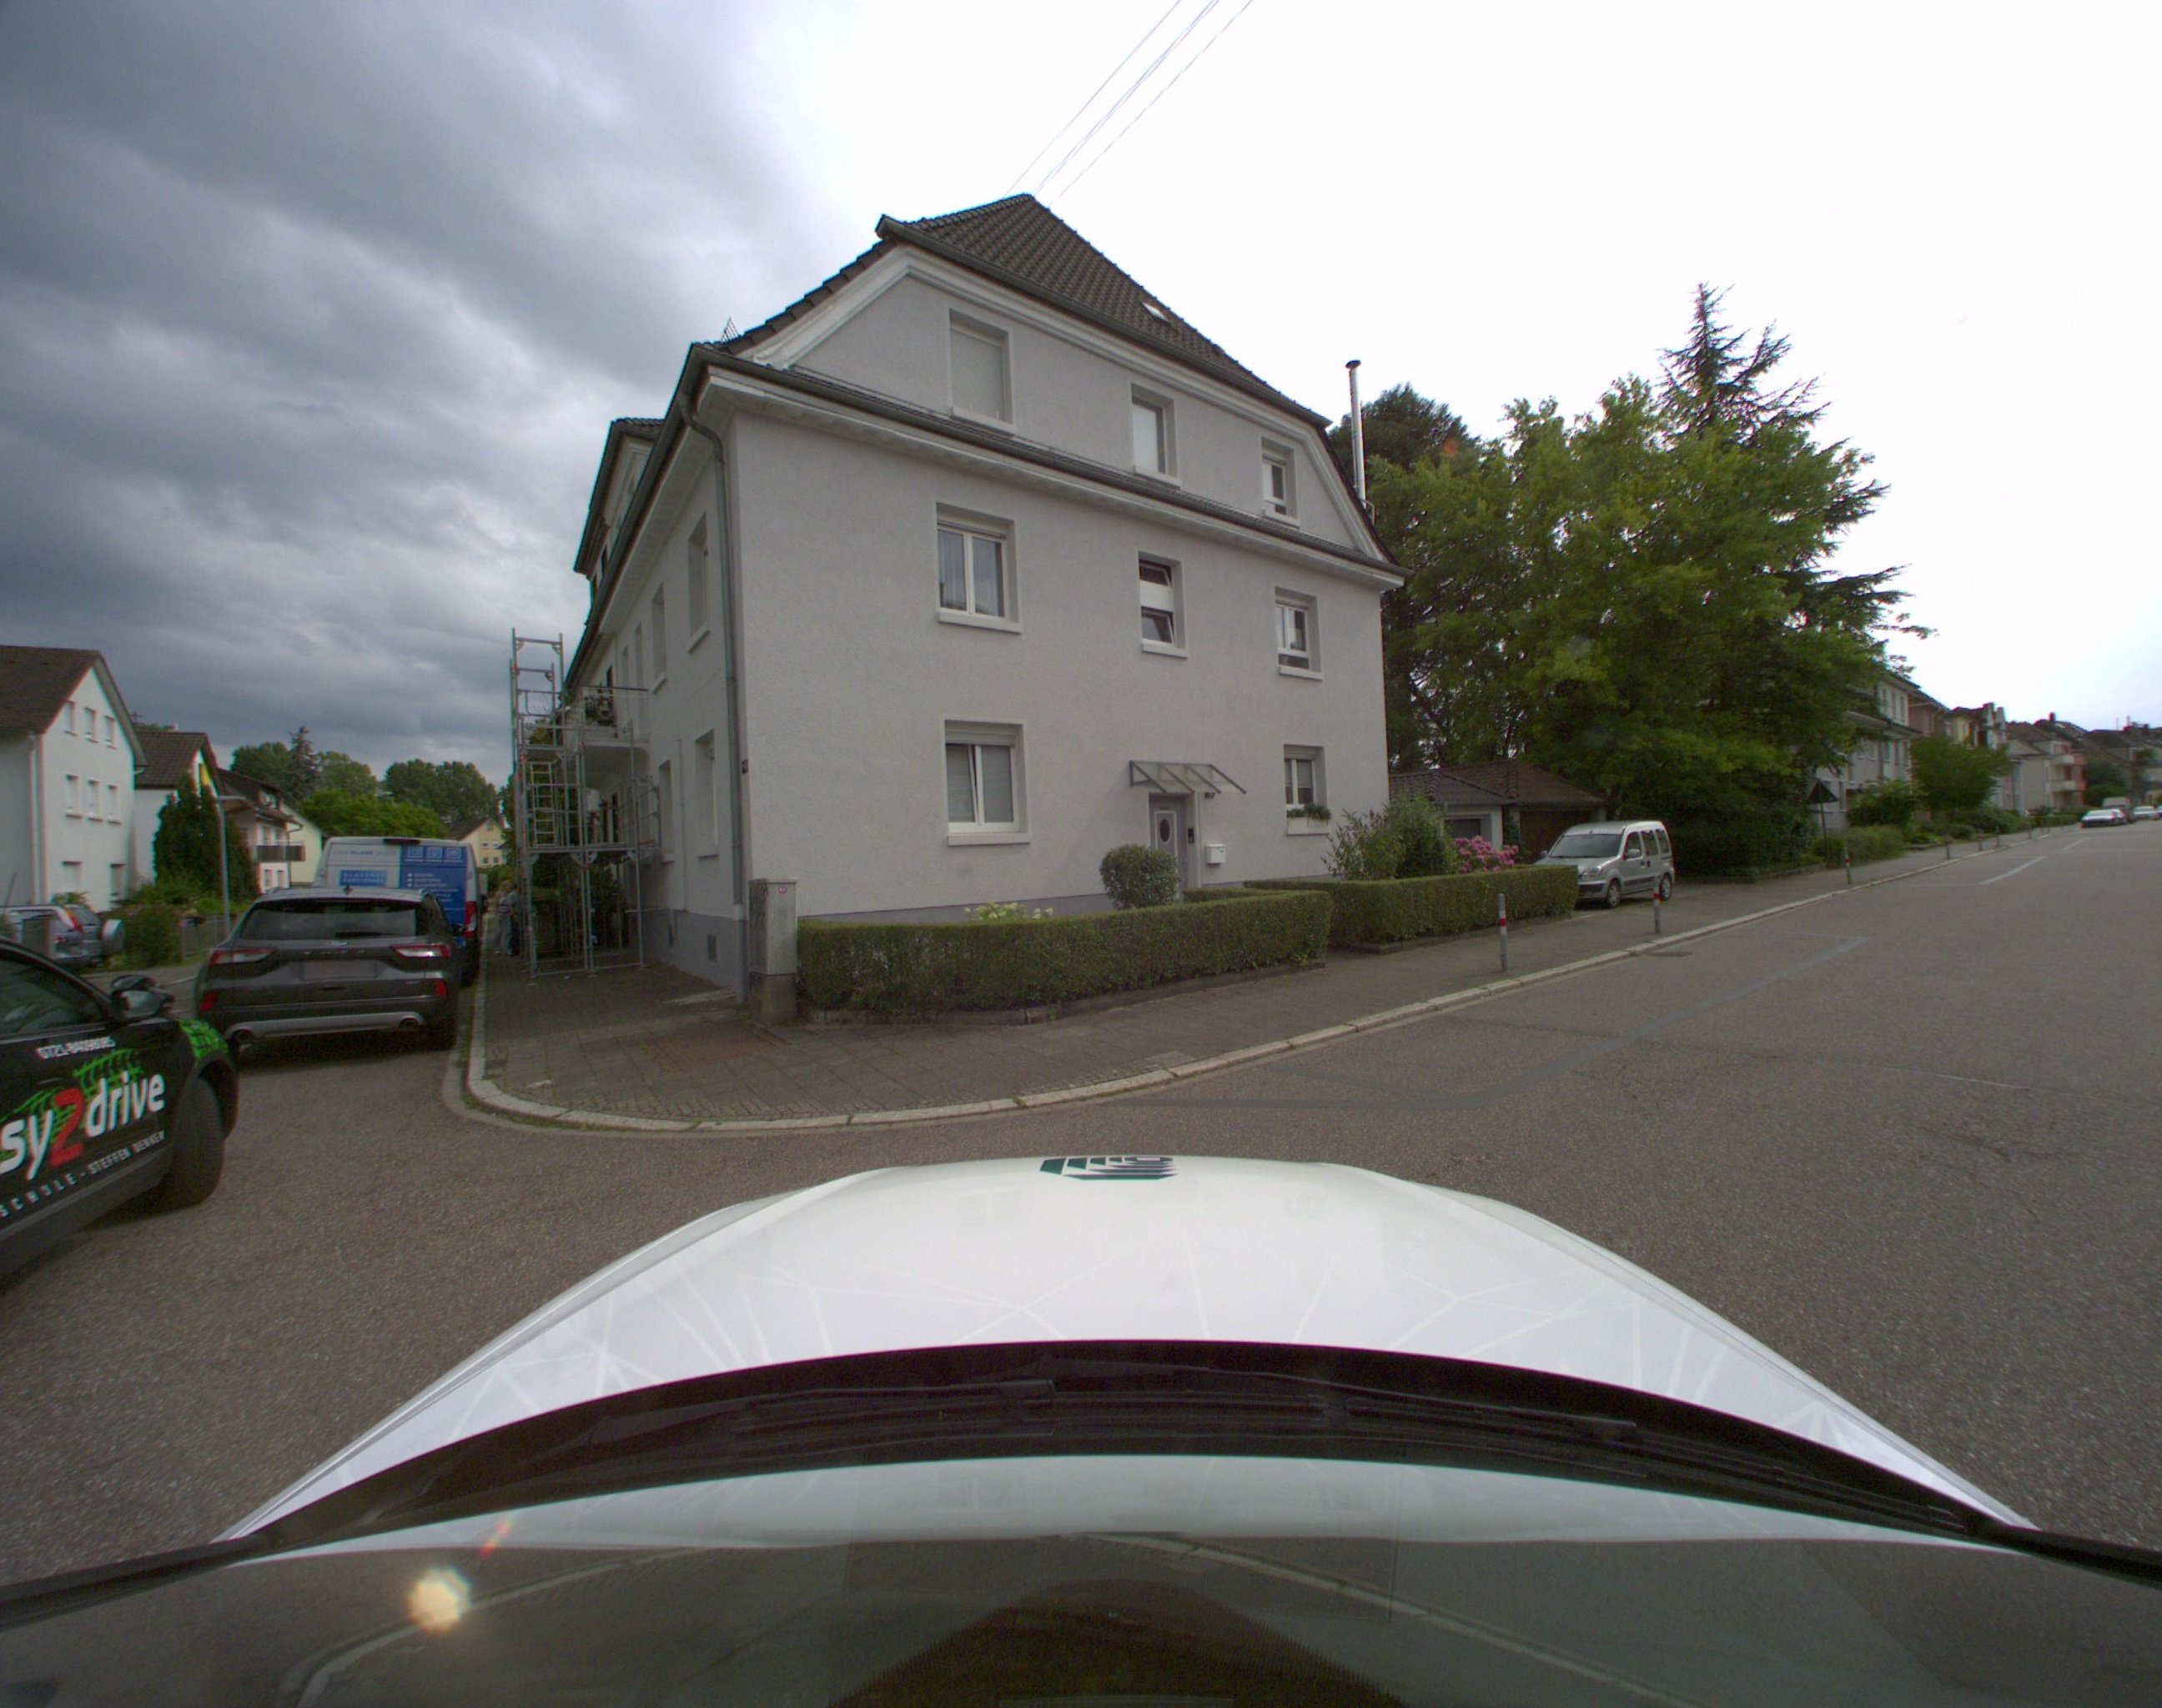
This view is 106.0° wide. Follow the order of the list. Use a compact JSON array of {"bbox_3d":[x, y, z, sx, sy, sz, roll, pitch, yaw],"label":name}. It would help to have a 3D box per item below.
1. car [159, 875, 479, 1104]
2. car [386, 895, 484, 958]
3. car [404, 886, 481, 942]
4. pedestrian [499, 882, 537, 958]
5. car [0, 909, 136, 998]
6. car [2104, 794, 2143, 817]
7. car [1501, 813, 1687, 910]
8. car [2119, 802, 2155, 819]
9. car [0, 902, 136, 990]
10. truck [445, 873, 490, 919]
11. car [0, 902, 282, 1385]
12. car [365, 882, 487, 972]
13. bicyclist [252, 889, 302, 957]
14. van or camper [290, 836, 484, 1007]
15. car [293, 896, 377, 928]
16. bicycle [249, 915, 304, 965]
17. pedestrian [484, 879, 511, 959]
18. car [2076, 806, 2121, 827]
[{"bbox_3d":[-7.928,1.173,8.850,2.010,1.727,4.291,-3,0,-39],"label":"car"},{"bbox_3d":[-18.498,2.001,23.350,2.010,1.455,4.291,-3,0,-39],"label":"car"},{"bbox_3d":[-23.145,2.114,29.527,2.010,1.749,4.291,-3,0,-39],"label":"car"},{"bbox_3d":[-12.582,1.457,18.214,0.605,1.629,0.619,-3,-2,-33],"label":"pedestrian"},{"bbox_3d":[-20.590,1.934,15.197,3.601,1.500,1.569,-3,-1,-40],"label":"car"},{"bbox_3d":[98.904,-4.593,77.260,4.016,2.013,1.979,-3,0,-34],"label":"car"},{"bbox_3d":[11.293,0.121,17.870,4.017,1.838,1.978,-3,0,-35],"label":"car"},{"bbox_3d":[112.536,-4.637,86.811,4.015,1.640,1.979,-3,0,-33],"label":"car"},{"bbox_3d":[-22.821,1.988,17.113,3.601,1.667,1.569,-3,-1,-40],"label":"car"},{"bbox_3d":[-39.146,2.658,51.926,2.147,2.657,4.531,-3,0,-38],"label":"truck"},{"bbox_3d":[-4.558,0.979,2.669,1.828,1.520,4.003,-2,-2,-31],"label":"car"},{"bbox_3d":[-15.504,1.620,19.354,2.010,1.772,4.291,-3,0,-39],"label":"car"},{"bbox_3d":[-21.057,1.790,21.348,0.702,1.666,0.964,-4,0,-36],"label":"bicyclist"},{"bbox_3d":[-12.140,1.053,14.599,2.209,2.459,4.997,-3,0,-37],"label":"van or camper"},{"bbox_3d":[-49.655,3.831,54.306,4.022,1.772,1.847,-3,-2,-41],"label":"car"},{"bbox_3d":[-20.985,2.214,21.283,0.710,1.152,1.852,-4,0,-36],"label":"bicycle"},{"bbox_3d":[-13.224,1.460,18.454,0.411,1.762,0.507,-2,-2,-40],"label":"pedestrian"},{"bbox_3d":[88.330,-3.248,70.704,4.015,1.640,1.979,-3,0,-33],"label":"car"}]
